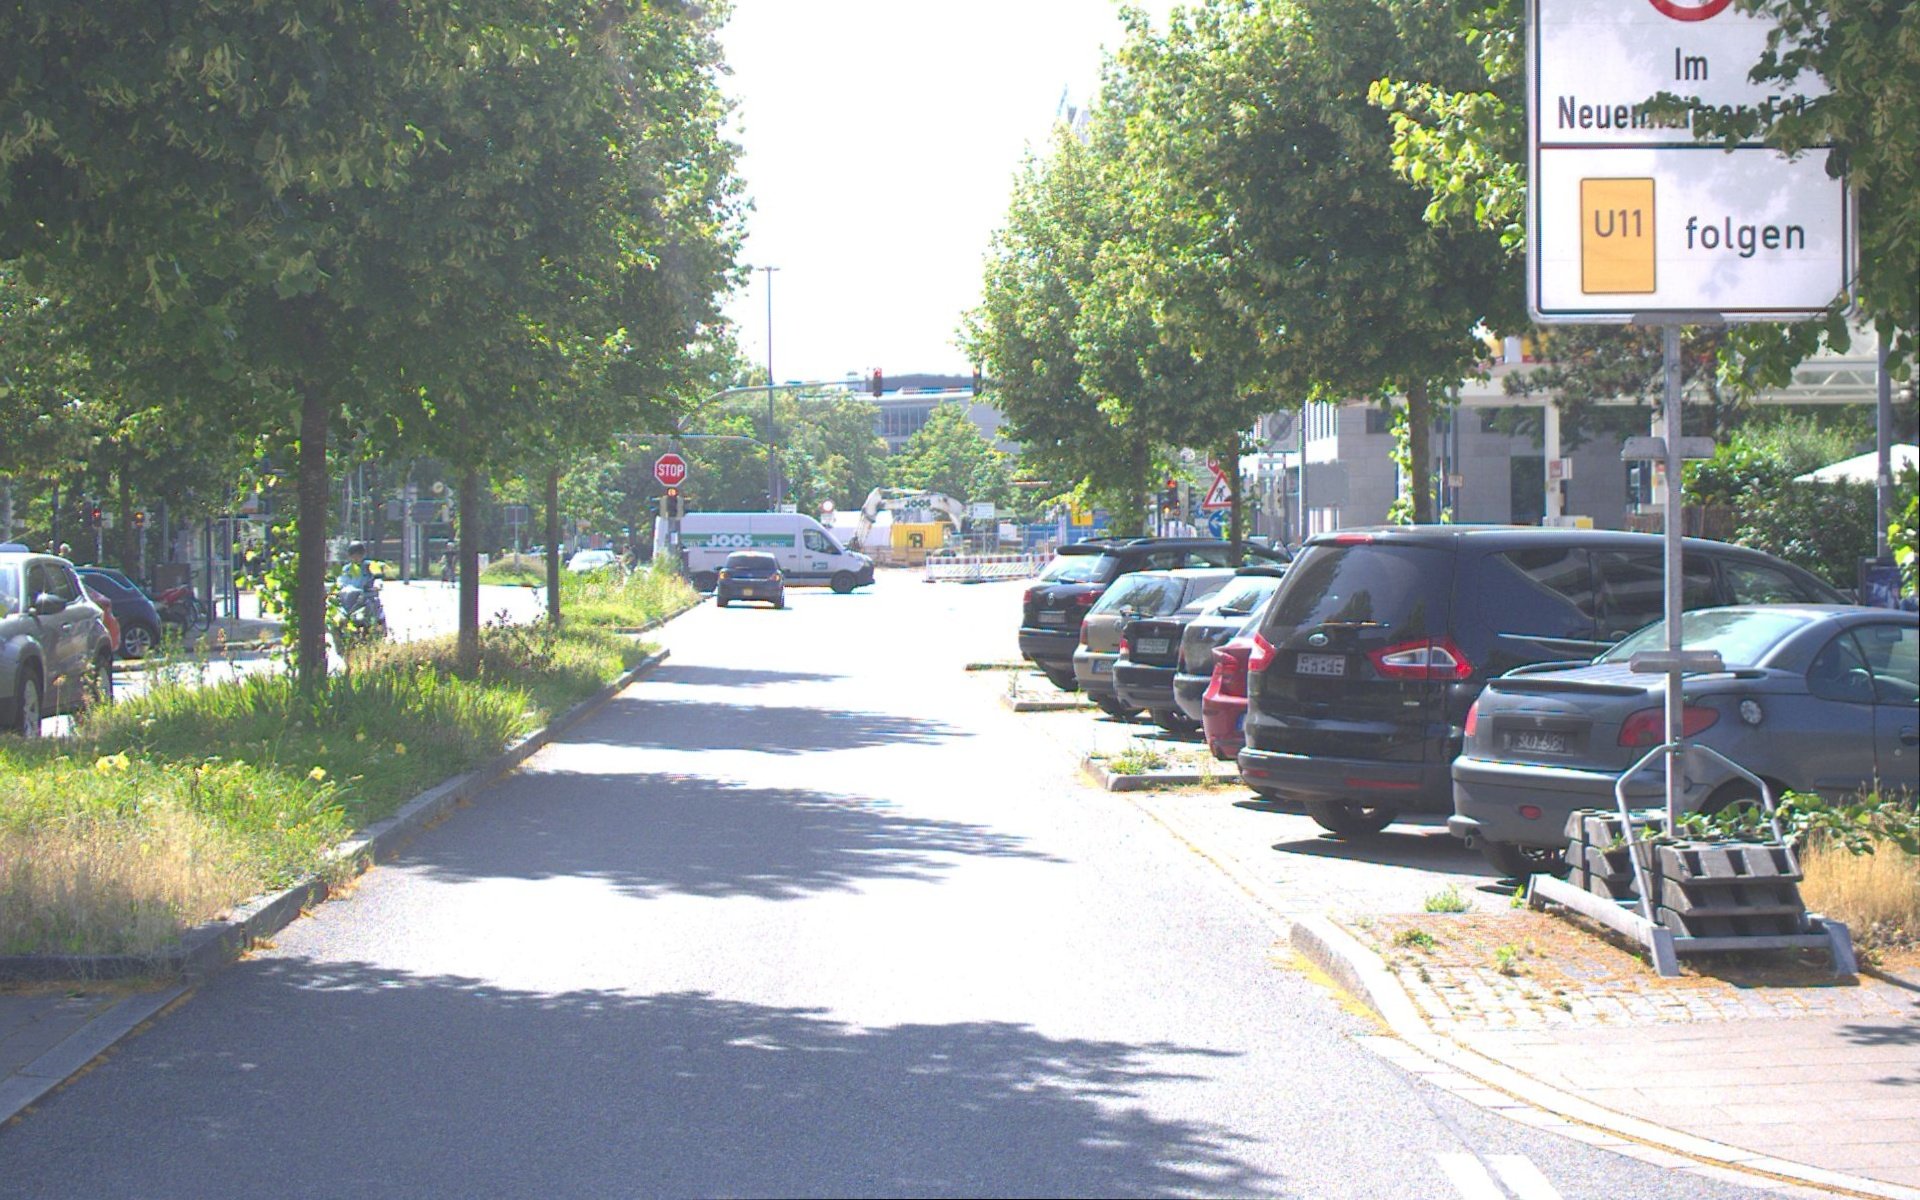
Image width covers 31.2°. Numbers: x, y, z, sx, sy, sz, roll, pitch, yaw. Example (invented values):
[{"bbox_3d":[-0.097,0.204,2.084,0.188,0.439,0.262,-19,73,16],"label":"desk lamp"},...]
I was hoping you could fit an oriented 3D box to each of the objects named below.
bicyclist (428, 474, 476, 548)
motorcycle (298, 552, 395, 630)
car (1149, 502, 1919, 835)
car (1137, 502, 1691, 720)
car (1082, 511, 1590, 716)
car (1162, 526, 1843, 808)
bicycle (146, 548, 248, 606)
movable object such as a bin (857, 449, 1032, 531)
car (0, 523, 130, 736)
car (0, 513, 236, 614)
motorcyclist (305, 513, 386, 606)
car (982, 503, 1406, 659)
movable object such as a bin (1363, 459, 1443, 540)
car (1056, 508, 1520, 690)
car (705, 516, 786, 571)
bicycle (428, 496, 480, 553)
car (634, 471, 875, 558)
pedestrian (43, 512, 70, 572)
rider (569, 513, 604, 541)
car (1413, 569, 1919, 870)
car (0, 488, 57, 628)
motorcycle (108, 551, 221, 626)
[{"bbox_3d":[-20.194,-3.531,136.719,1.599,2.921,2.353,0,1,-2],"label":"bicyclist"},{"bbox_3d":[-8.142,-0.136,45.706,0.923,0.989,2.235,0,1,-1],"label":"motorcycle"},{"bbox_3d":[3.285,0.291,18.909,4.107,1.634,2.044,-1,1,-35],"label":"car"},{"bbox_3d":[3.599,0.043,27.341,3.986,1.634,1.801,-1,1,-21],"label":"car"},{"bbox_3d":[3.229,0.069,29.523,3.986,1.634,1.753,-1,2,-24],"label":"car"},{"bbox_3d":[3.463,0.371,21.783,3.987,1.634,1.880,-1,0,-32],"label":"car"},{"bbox_3d":[-14.869,-0.451,67.030,1.845,1.118,0.693,0,1,-1],"label":"bicycle"},{"bbox_3d":[-0.873,-6.171,192.604,9.675,4.534,3.164,0,1,0],"label":"movable object such as a bin"},{"bbox_3d":[-7.833,0.197,26.887,1.741,1.542,4.073,-1,1,-1],"label":"car"},{"bbox_3d":[-13.081,-0.583,51.931,3.764,1.418,1.855,-2,3,-42],"label":"car"},{"bbox_3d":[-8.142,-0.537,45.572,0.900,1.217,1.062,0,1,-1],"label":"motorcyclist"},{"bbox_3d":[2.670,-0.248,38.632,4.731,1.654,1.753,-1,1,-36],"label":"car"},{"bbox_3d":[9.105,-2.062,70.701,1.307,1.586,1.396,-3,1,-5],"label":"movable object such as a bin"},{"bbox_3d":[3.054,-0.042,32.277,3.986,1.634,1.753,0,1,-14],"label":"car"},{"bbox_3d":[-5.648,-1.493,90.186,1.993,1.393,4.001,0,1,-5],"label":"car"},{"bbox_3d":[-20.227,-3.002,137.534,1.599,2.261,4.001,0,1,-2],"label":"bicycle"},{"bbox_3d":[-6.485,-2.696,107.908,7.427,2.665,2.903,0,2,-5],"label":"car"},{"bbox_3d":[-26.084,-1.669,99.277,0.658,1.720,0.753,-1,1,-20],"label":"pedestrian"},{"bbox_3d":[-15.720,-3.075,144.905,1.391,1.191,2.698,0,1,-5],"label":"rider"},{"bbox_3d":[4.290,0.488,16.238,3.986,1.232,1.753,-1,1,-28],"label":"car"},{"bbox_3d":[-13.516,-0.528,43.371,3.762,1.766,1.819,-1,1,-30],"label":"car"},{"bbox_3d":[-13.761,-0.204,59.503,1.845,1.280,0.693,0,1,-9],"label":"motorcycle"}]
